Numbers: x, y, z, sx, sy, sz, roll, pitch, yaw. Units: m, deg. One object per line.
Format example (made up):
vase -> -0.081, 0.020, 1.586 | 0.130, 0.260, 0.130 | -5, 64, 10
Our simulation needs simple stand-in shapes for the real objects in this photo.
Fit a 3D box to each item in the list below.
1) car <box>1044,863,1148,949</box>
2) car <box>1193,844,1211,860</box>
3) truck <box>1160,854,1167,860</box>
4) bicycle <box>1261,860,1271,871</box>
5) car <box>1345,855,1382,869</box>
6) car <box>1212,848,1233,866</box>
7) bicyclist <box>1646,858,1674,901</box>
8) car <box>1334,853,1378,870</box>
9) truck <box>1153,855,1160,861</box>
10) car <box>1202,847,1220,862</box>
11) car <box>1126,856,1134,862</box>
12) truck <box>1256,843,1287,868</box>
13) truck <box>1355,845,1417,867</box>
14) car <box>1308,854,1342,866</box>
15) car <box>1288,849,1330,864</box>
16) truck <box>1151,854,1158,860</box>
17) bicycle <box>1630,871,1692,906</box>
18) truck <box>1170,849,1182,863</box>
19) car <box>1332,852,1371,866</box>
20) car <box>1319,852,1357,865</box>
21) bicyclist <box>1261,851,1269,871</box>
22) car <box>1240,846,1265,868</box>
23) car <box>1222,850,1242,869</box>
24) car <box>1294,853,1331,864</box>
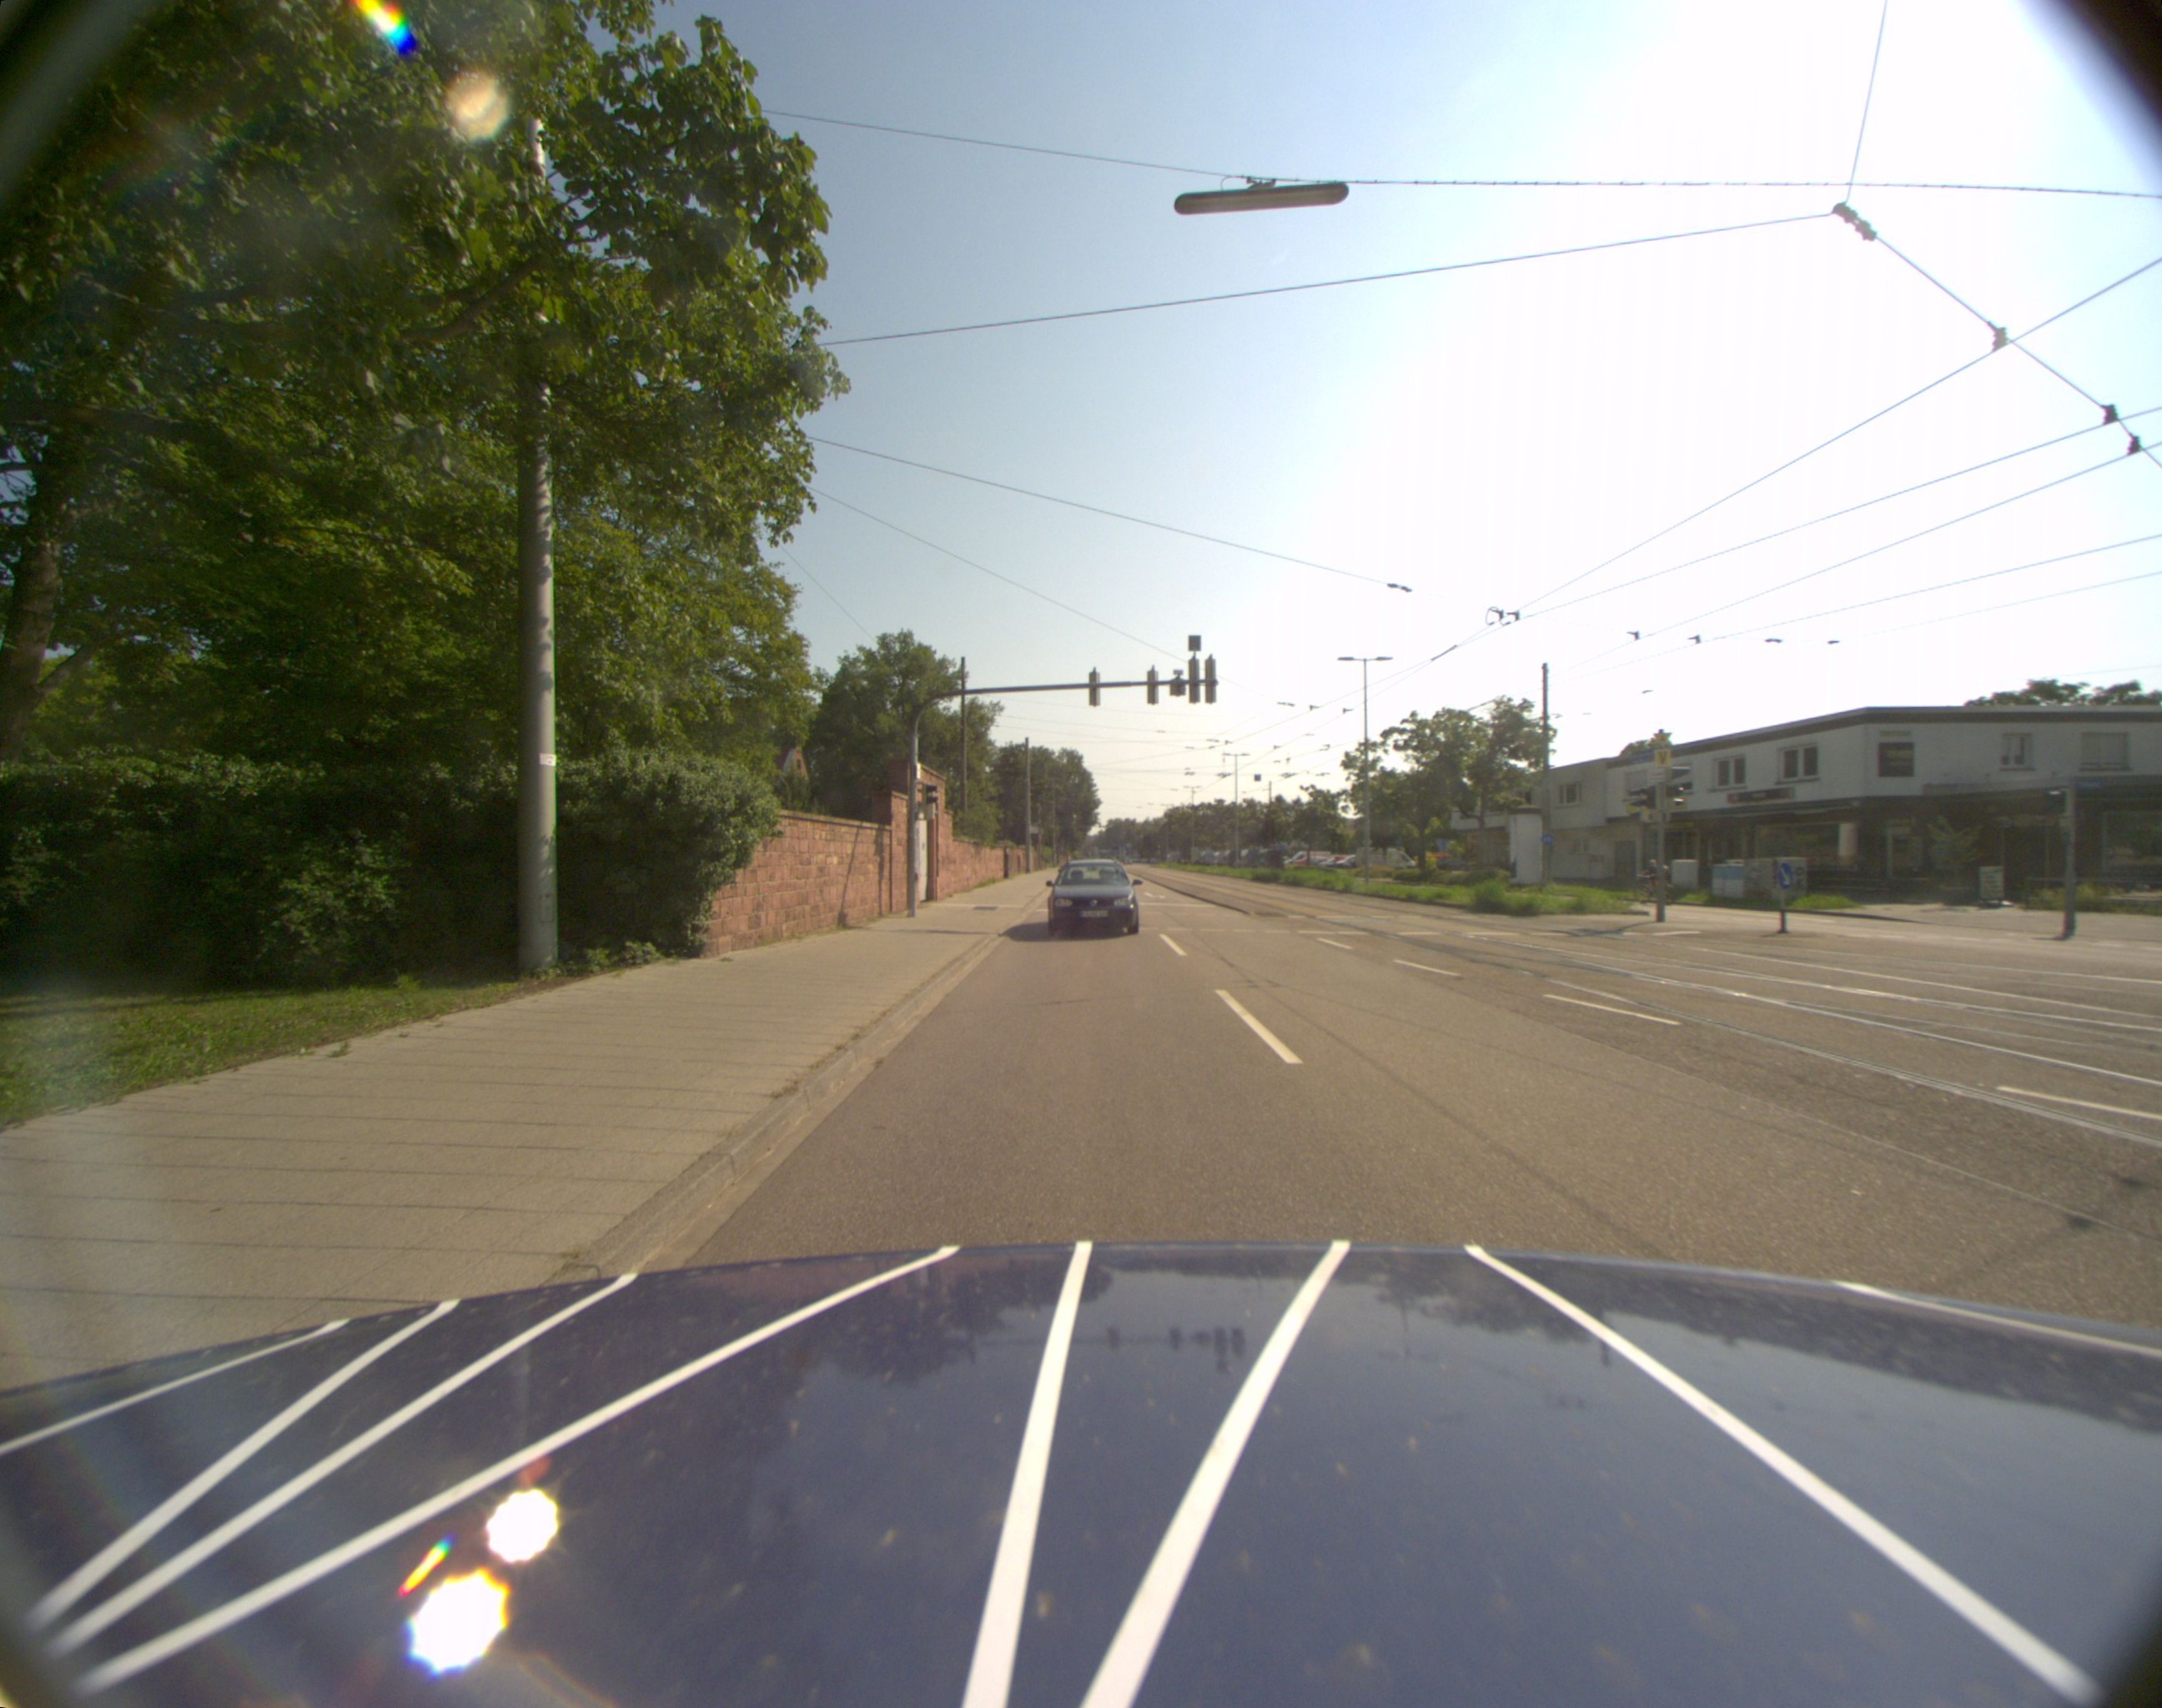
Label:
car -> 0.329, 0.913, 14.933 | 1.776, 1.416, 3.935 | 0, 0, 2
car -> 22.155, -0.324, 139.245 | 2.129, 2.789, 7.231 | 2, 0, 2
truck -> 23.046, 0.879, 212.754 | 1.691, 1.665, 3.655 | 2, 0, 1
bicycle -> 19.068, 1.176, 78.353 | 0.716, 1.085, 2.266 | 2, 0, 6
car -> 31.150, 0.930, 83.903 | 3.413, 1.418, 1.633 | 2, 0, 0
car -> 21.456, 0.381, 115.164 | 2.137, 2.571, 5.631 | 2, 0, 2
bicyclist -> 20.665, 0.897, 27.118 | 0.569, 1.514, 0.490 | 2, 1, 2
car -> 31.415, 0.862, 86.944 | 4.409, 1.774, 1.633 | 2, 1, 0
truck -> 22.085, 1.074, 223.085 | 1.691, 1.665, 3.655 | 2, 0, 1
car -> 22.118, 0.094, 129.620 | 2.148, 2.444, 4.831 | 2, 0, 0
car -> 11.870, 1.183, 186.070 | 1.726, 1.317, 4.000 | 2, 0, 1
truck -> 21.203, 0.156, 84.795 | 2.086, 2.533, 5.739 | 2, 0, 0
truck -> 31.780, 0.209, 79.238 | 5.504, 2.160, 2.259 | 2, 1, 0
car -> 32.157, 0.790, 100.106 | 3.933, 1.441, 1.633 | 2, 0, 0
car -> 32.487, 0.334, 108.323 | 5.198, 1.914, 2.052 | 2, 0, 0
truck -> 21.961, 0.949, 227.644 | 1.691, 1.665, 3.655 | 2, 0, 1
bicycle -> 20.661, 1.203, 27.126 | 0.576, 1.172, 2.209 | 2, -1, 3
truck -> 22.836, 0.430, 182.358 | 2.278, 3.103, 8.789 | 2, 0, 4
car -> 31.839, 0.576, 89.441 | 3.933, 1.509, 1.633 | 2, 0, 0
car -> 31.676, 0.552, 93.643 | 4.167, 1.455, 1.625 | 1, 0, 1
bicyclist -> 19.081, 0.697, 78.611 | 0.638, 2.052, 0.775 | 2, 1, 6
car -> 21.319, 0.341, 94.658 | 1.993, 2.571, 6.468 | -1, 0, 3
car -> 21.266, 0.757, 106.893 | 1.826, 2.571, 5.911 | -1, 0, 2
car -> 32.056, 0.603, 105.253 | 4.665, 1.441, 1.633 | 2, 0, 0
